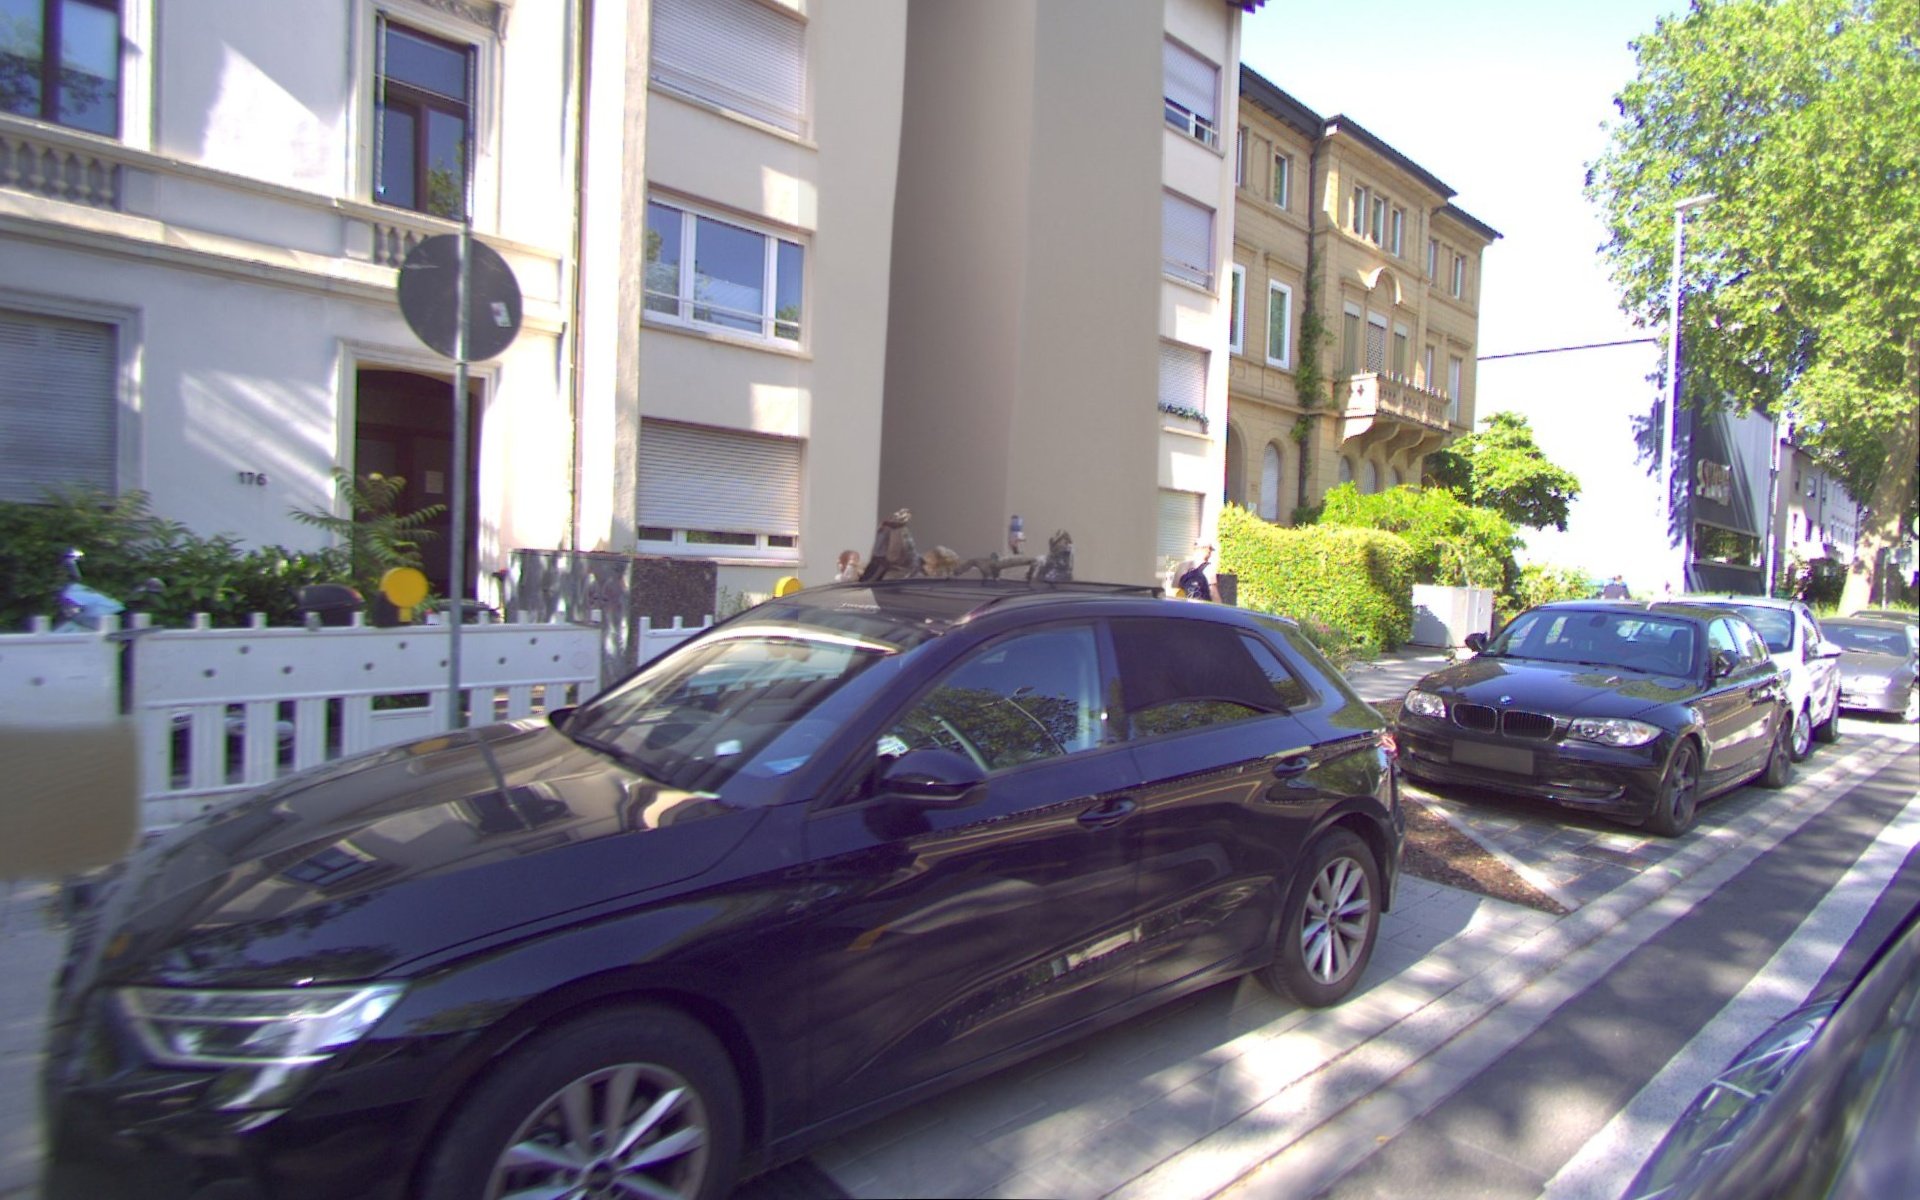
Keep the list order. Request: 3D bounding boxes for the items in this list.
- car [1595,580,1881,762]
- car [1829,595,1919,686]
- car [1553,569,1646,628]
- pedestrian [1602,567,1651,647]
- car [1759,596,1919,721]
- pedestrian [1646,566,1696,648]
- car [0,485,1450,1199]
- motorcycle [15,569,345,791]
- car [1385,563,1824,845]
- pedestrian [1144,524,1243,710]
[{"bbox_3d":[8.249,0.614,10.624,3.668,1.504,1.623,0,3,-41],"label":"car"},{"bbox_3d":[17.746,0.720,18.796,4.398,1.429,1.721,0,5,-41],"label":"car"},{"bbox_3d":[21.870,-0.102,34.753,1.778,1.844,3.975,3,2,19],"label":"car"},{"bbox_3d":[15.593,0.151,23.674,0.788,1.818,0.698,1,2,-41],"label":"pedestrian"},{"bbox_3d":[12.831,0.734,14.238,3.977,1.430,1.720,0,3,-41],"label":"car"},{"bbox_3d":[16.111,0.146,22.930,0.702,1.818,0.698,1,2,-41],"label":"pedestrian"},{"bbox_3d":[-0.199,0.564,3.187,4.026,1.504,1.623,0,3,-41],"label":"car"},{"bbox_3d":[-4.670,0.432,6.184,1.525,1.201,0.599,1,1,-34],"label":"motorcycle"},{"bbox_3d":[4.942,0.564,7.532,3.986,1.504,1.623,0,3,-41],"label":"car"},{"bbox_3d":[2.457,0.158,10.659,0.682,1.872,0.666,1,2,-41],"label":"pedestrian"}]
